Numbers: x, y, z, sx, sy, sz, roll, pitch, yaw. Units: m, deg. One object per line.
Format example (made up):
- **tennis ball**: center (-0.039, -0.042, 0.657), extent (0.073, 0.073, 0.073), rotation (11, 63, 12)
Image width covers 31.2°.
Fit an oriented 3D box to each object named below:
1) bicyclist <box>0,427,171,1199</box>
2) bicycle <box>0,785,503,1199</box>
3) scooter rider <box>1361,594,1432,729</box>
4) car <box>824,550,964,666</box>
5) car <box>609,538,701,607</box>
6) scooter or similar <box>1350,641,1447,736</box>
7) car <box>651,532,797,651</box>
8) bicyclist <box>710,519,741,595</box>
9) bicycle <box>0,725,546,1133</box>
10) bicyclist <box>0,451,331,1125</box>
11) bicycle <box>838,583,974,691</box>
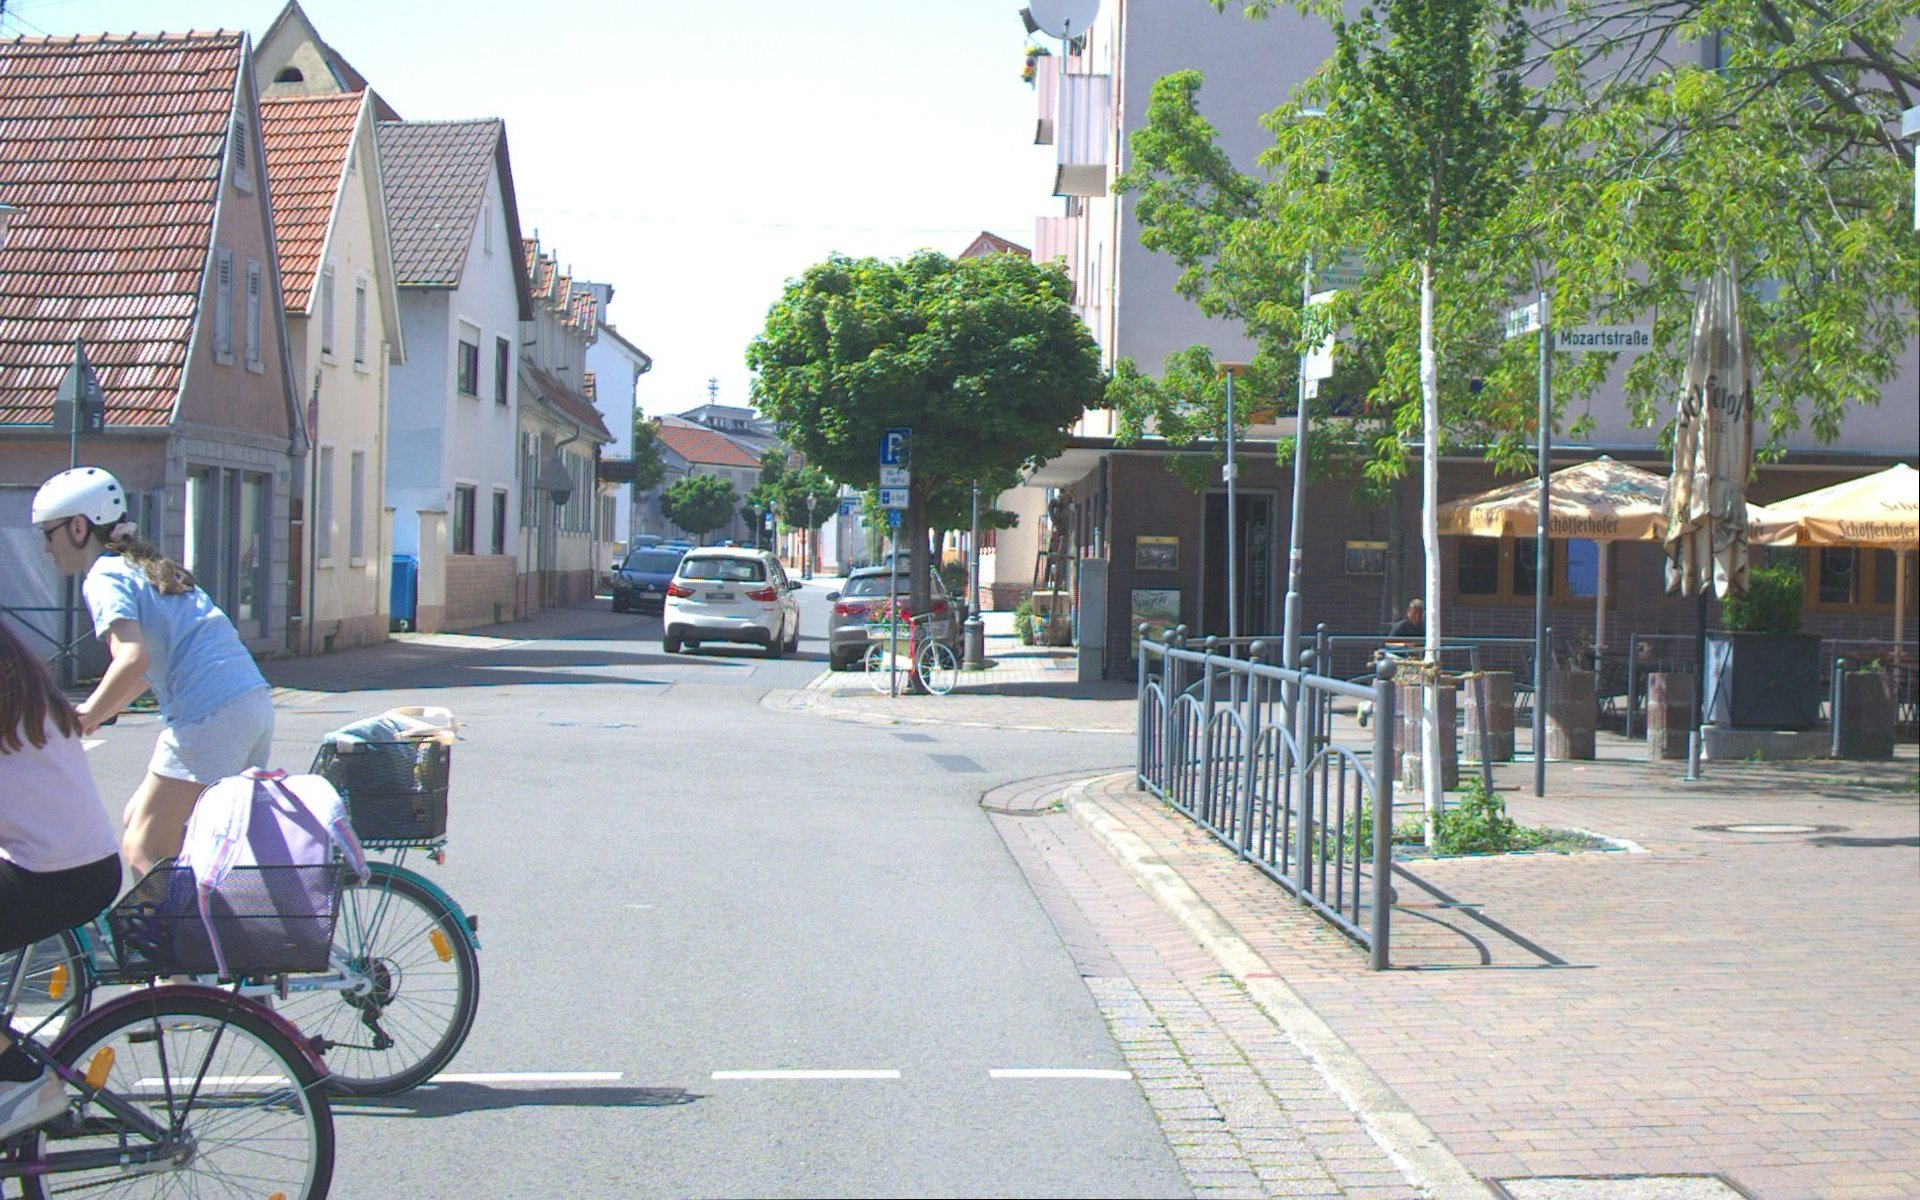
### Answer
- **bicyclist**: center (-1.874, 0.482, 6.329), extent (0.759, 1.576, 0.671), rotation (-1, 2, -16)
- **bicycle**: center (-1.838, 0.875, 6.337), extent (1.889, 0.954, 0.676), rotation (-1, 1, -16)
- **scooter rider**: center (4.217, 0.589, 33.201), extent (0.516, 1.281, 0.418), rotation (1, 1, -41)
- **car**: center (-0.892, 0.078, 48.214), extent (1.805, 1.496, 4.000), rotation (1, 1, 1)
- **car**: center (-6.968, -0.635, 78.858), extent (1.714, 1.512, 3.786), rotation (1, 1, 1)
- **scooter or similar**: center (4.228, 0.846, 33.179), extent (0.379, 0.870, 0.890), rotation (1, 1, -41)
- **car**: center (-3.569, -0.170, 52.613), extent (1.834, 1.646, 4.000), rotation (3, 1, 1)
- **bicyclist**: center (-5.295, -0.971, 77.627), extent (0.669, 1.685, 0.761), rotation (0, 1, -1)
- **bicycle**: center (-2.058, 0.828, 8.810), extent (1.890, 0.954, 0.676), rotation (-1, 1, 1)
- **bicyclist**: center (-2.071, 0.459, 8.808), extent (0.759, 1.658, 0.671), rotation (-1, 1, 1)
- **bicycle**: center (-0.629, 0.414, 39.444), extent (0.525, 1.189, 1.674), rotation (1, 1, -44)
